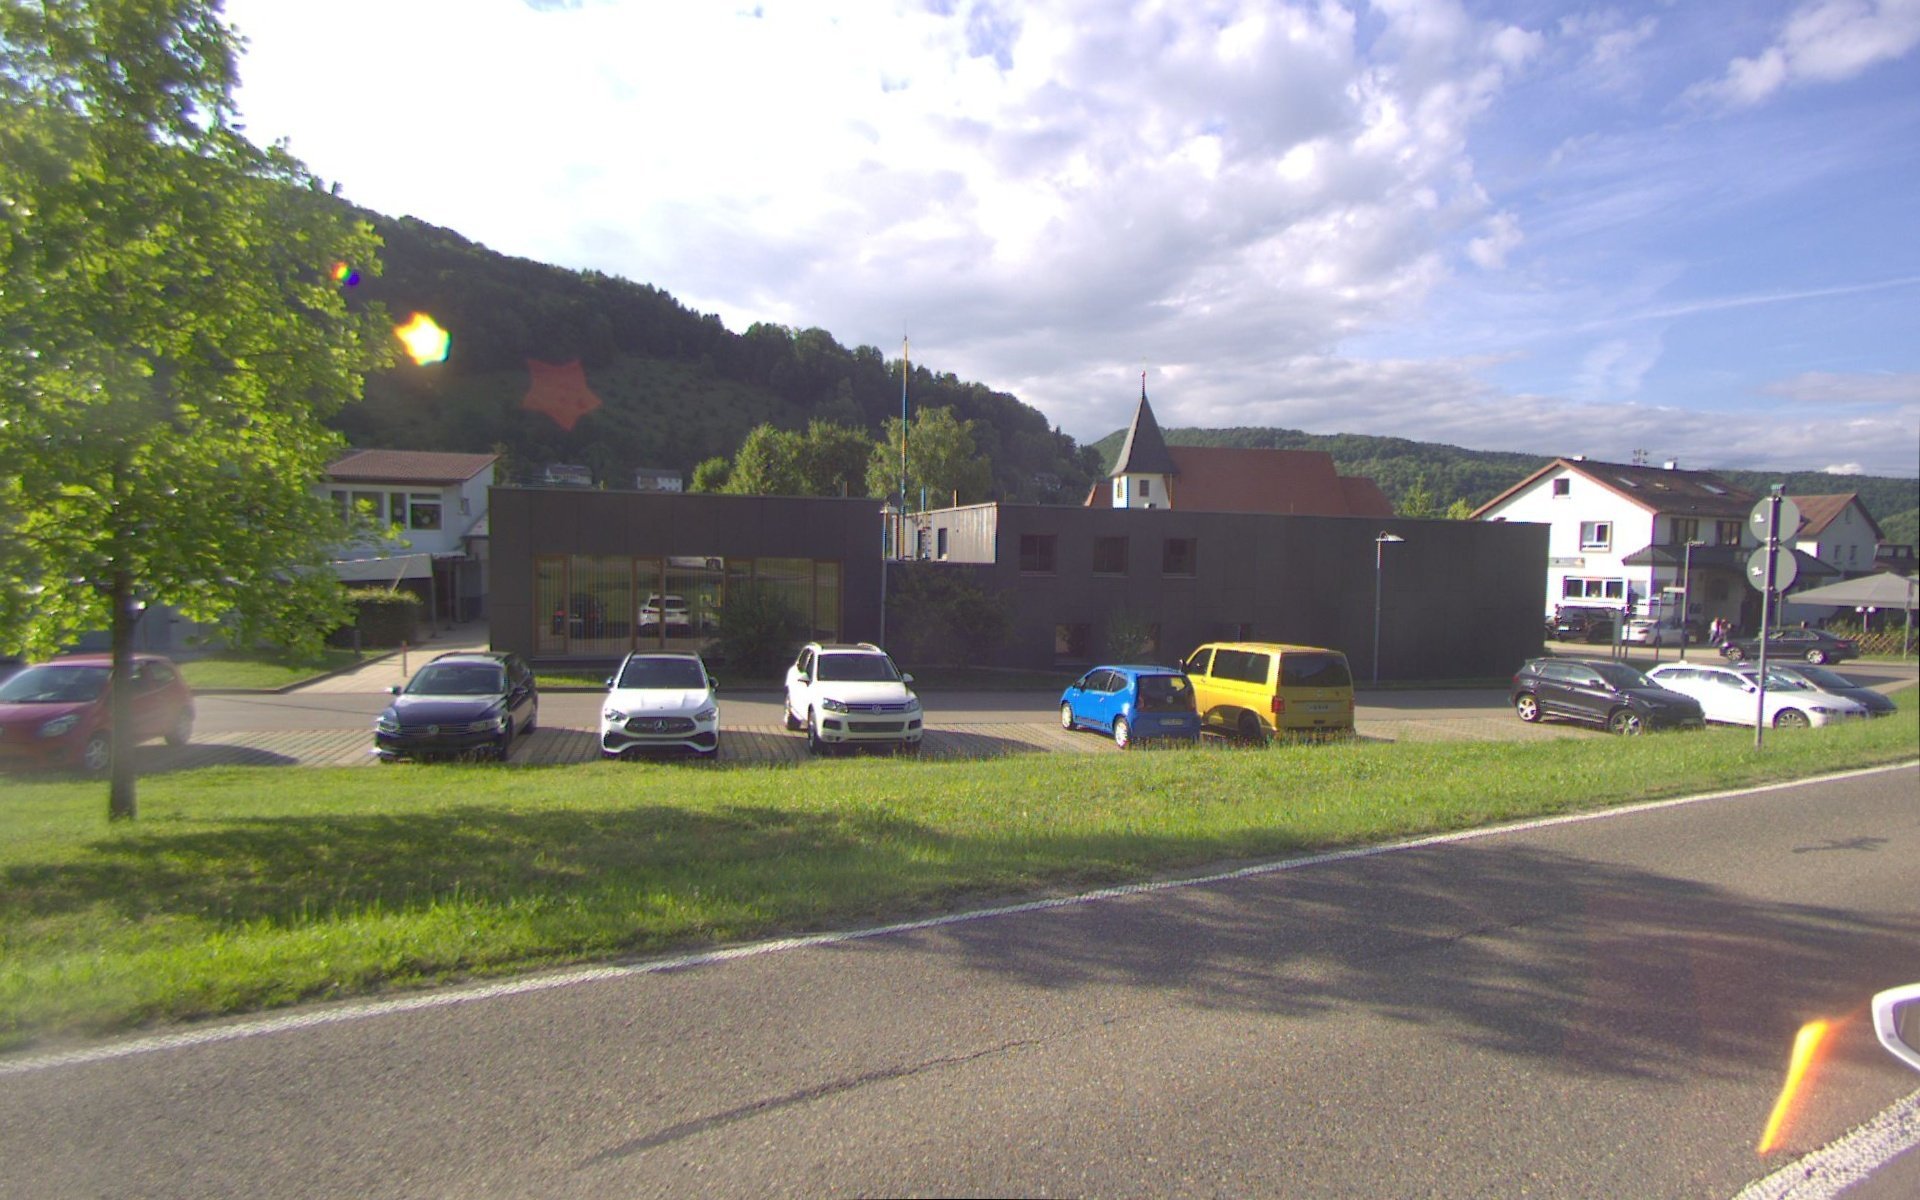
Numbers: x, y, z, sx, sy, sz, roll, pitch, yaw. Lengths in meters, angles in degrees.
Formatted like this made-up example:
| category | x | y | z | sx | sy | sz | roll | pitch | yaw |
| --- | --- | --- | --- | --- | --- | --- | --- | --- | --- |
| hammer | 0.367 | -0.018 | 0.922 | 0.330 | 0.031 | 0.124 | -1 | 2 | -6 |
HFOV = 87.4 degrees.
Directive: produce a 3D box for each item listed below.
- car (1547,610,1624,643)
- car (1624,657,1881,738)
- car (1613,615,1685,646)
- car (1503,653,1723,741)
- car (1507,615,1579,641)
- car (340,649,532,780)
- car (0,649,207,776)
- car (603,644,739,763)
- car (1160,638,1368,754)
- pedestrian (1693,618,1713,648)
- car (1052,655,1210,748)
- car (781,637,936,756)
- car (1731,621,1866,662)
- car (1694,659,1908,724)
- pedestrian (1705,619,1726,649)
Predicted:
| category | x | y | z | sx | sy | sz | roll | pitch | yaw |
| --- | --- | --- | --- | --- | --- | --- | --- | --- | --- |
| car | 33.934 | 1.439 | 54.462 | 3.953 | 1.684 | 1.878 | 2 | 0 | -30 |
| car | 19.535 | 2.354 | 25.086 | 1.851 | 1.513 | 4.811 | 2 | 0 | -17 |
| car | 35.789 | 1.606 | 52.173 | 3.953 | 1.469 | 1.548 | 2 | 0 | -30 |
| car | 15.343 | 2.226 | 23.862 | 1.968 | 1.659 | 4.022 | 2 | 0 | -17 |
| car | 33.267 | 1.613 | 57.311 | 3.954 | 1.372 | 1.832 | 2 | 0 | -31 |
| car | -8.363 | 1.743 | 16.481 | 1.968 | 1.575 | 4.536 | 2 | 0 | -17 |
| car | -12.779 | 1.547 | 14.731 | 1.590 | 1.416 | 3.718 | 2 | 0 | -17 |
| car | -5.099 | 1.690 | 17.604 | 1.968 | 1.575 | 4.536 | 2 | 0 | -17 |
| car | 6.018 | 1.844 | 20.584 | 1.966 | 1.893 | 4.612 | 2 | 0 | -14 |
| pedestrian | 38.167 | 1.704 | 51.568 | 0.583 | 1.523 | 0.605 | 2 | 0 | -30 |
| car | 3.344 | 1.976 | 20.268 | 1.608 | 1.492 | 3.489 | 2 | 0 | -20 |
| car | -2.031 | 1.670 | 18.695 | 1.968 | 1.725 | 4.536 | 2 | 0 | -17 |
| car | 34.264 | 1.681 | 41.194 | 1.885 | 1.461 | 3.993 | 2 | 0 | -9 |
| car | 22.093 | 2.360 | 26.577 | 1.735 | 1.327 | 3.979 | 2 | 0 | -22 |
| pedestrian | 38.150 | 1.717 | 50.725 | 0.583 | 1.523 | 0.605 | 2 | 0 | -30 |
